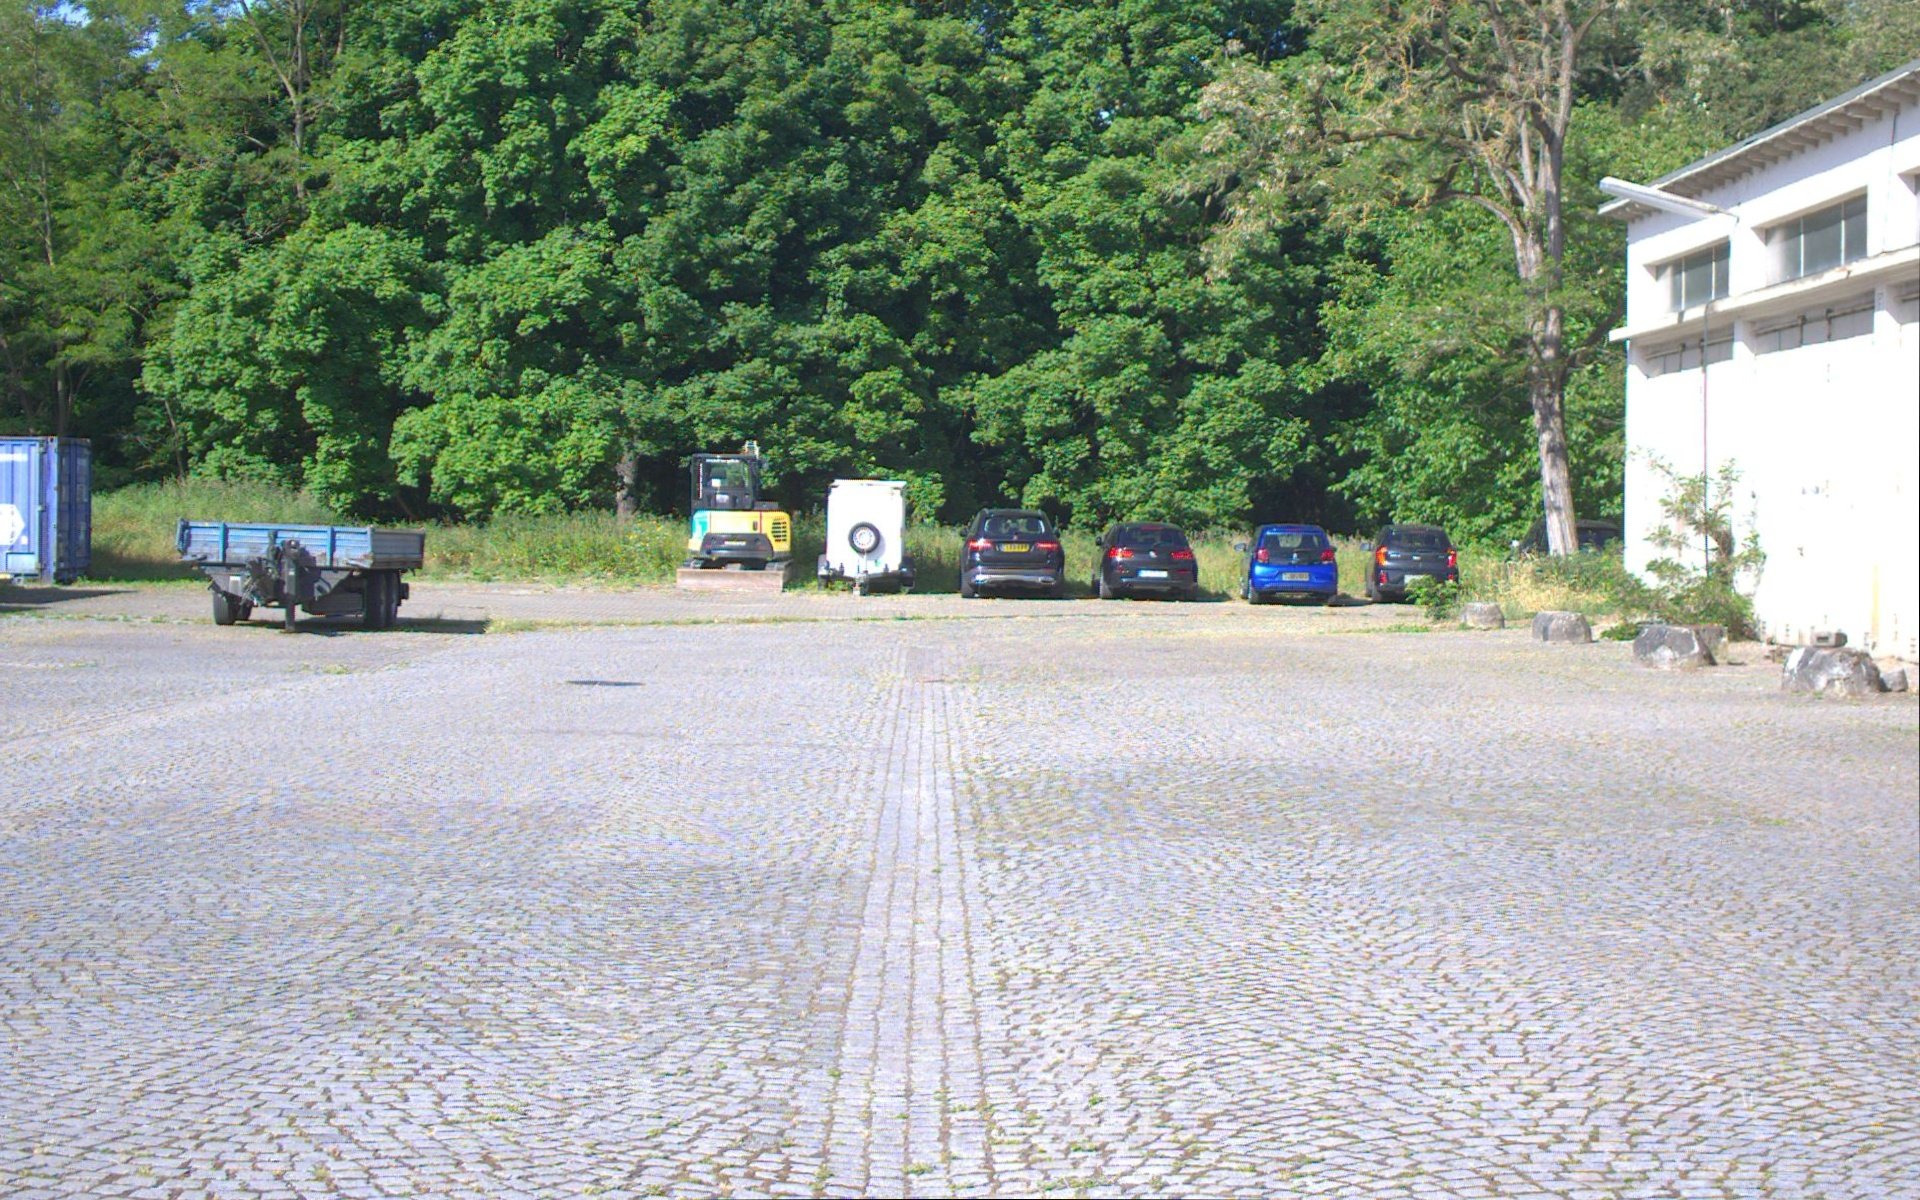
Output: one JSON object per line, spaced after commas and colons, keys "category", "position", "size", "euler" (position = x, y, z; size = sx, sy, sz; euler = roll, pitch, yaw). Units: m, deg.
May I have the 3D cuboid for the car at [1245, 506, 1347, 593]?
{"category": "car", "position": [6.210, -0.968, 63.862], "size": [1.744, 1.431, 4.183], "euler": [3, 3, 5]}

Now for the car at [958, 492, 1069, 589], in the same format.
{"category": "car", "position": [0.955, -1.127, 63.544], "size": [1.863, 1.583, 4.296], "euler": [2, 3, -1]}

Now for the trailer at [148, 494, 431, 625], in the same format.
{"category": "trailer", "position": [-8.805, -0.596, 45.821], "size": [2.705, 1.460, 6.248], "euler": [2, 2, -2]}

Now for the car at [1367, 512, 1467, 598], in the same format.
{"category": "car", "position": [8.646, -0.887, 65.279], "size": [1.744, 1.431, 4.182], "euler": [3, 3, 6]}

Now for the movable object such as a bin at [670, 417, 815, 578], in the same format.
{"category": "movable object such as a bin", "position": [-4.143, -2.034, 66.486], "size": [2.306, 2.886, 5.752], "euler": [2, 3, 0]}

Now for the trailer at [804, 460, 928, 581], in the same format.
{"category": "trailer", "position": [-1.766, -1.579, 65.908], "size": [2.193, 2.087, 5.752], "euler": [2, 3, -1]}

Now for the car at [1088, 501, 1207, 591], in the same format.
{"category": "car", "position": [3.441, -1.037, 63.918], "size": [1.863, 1.465, 4.296], "euler": [2, 3, -1]}
